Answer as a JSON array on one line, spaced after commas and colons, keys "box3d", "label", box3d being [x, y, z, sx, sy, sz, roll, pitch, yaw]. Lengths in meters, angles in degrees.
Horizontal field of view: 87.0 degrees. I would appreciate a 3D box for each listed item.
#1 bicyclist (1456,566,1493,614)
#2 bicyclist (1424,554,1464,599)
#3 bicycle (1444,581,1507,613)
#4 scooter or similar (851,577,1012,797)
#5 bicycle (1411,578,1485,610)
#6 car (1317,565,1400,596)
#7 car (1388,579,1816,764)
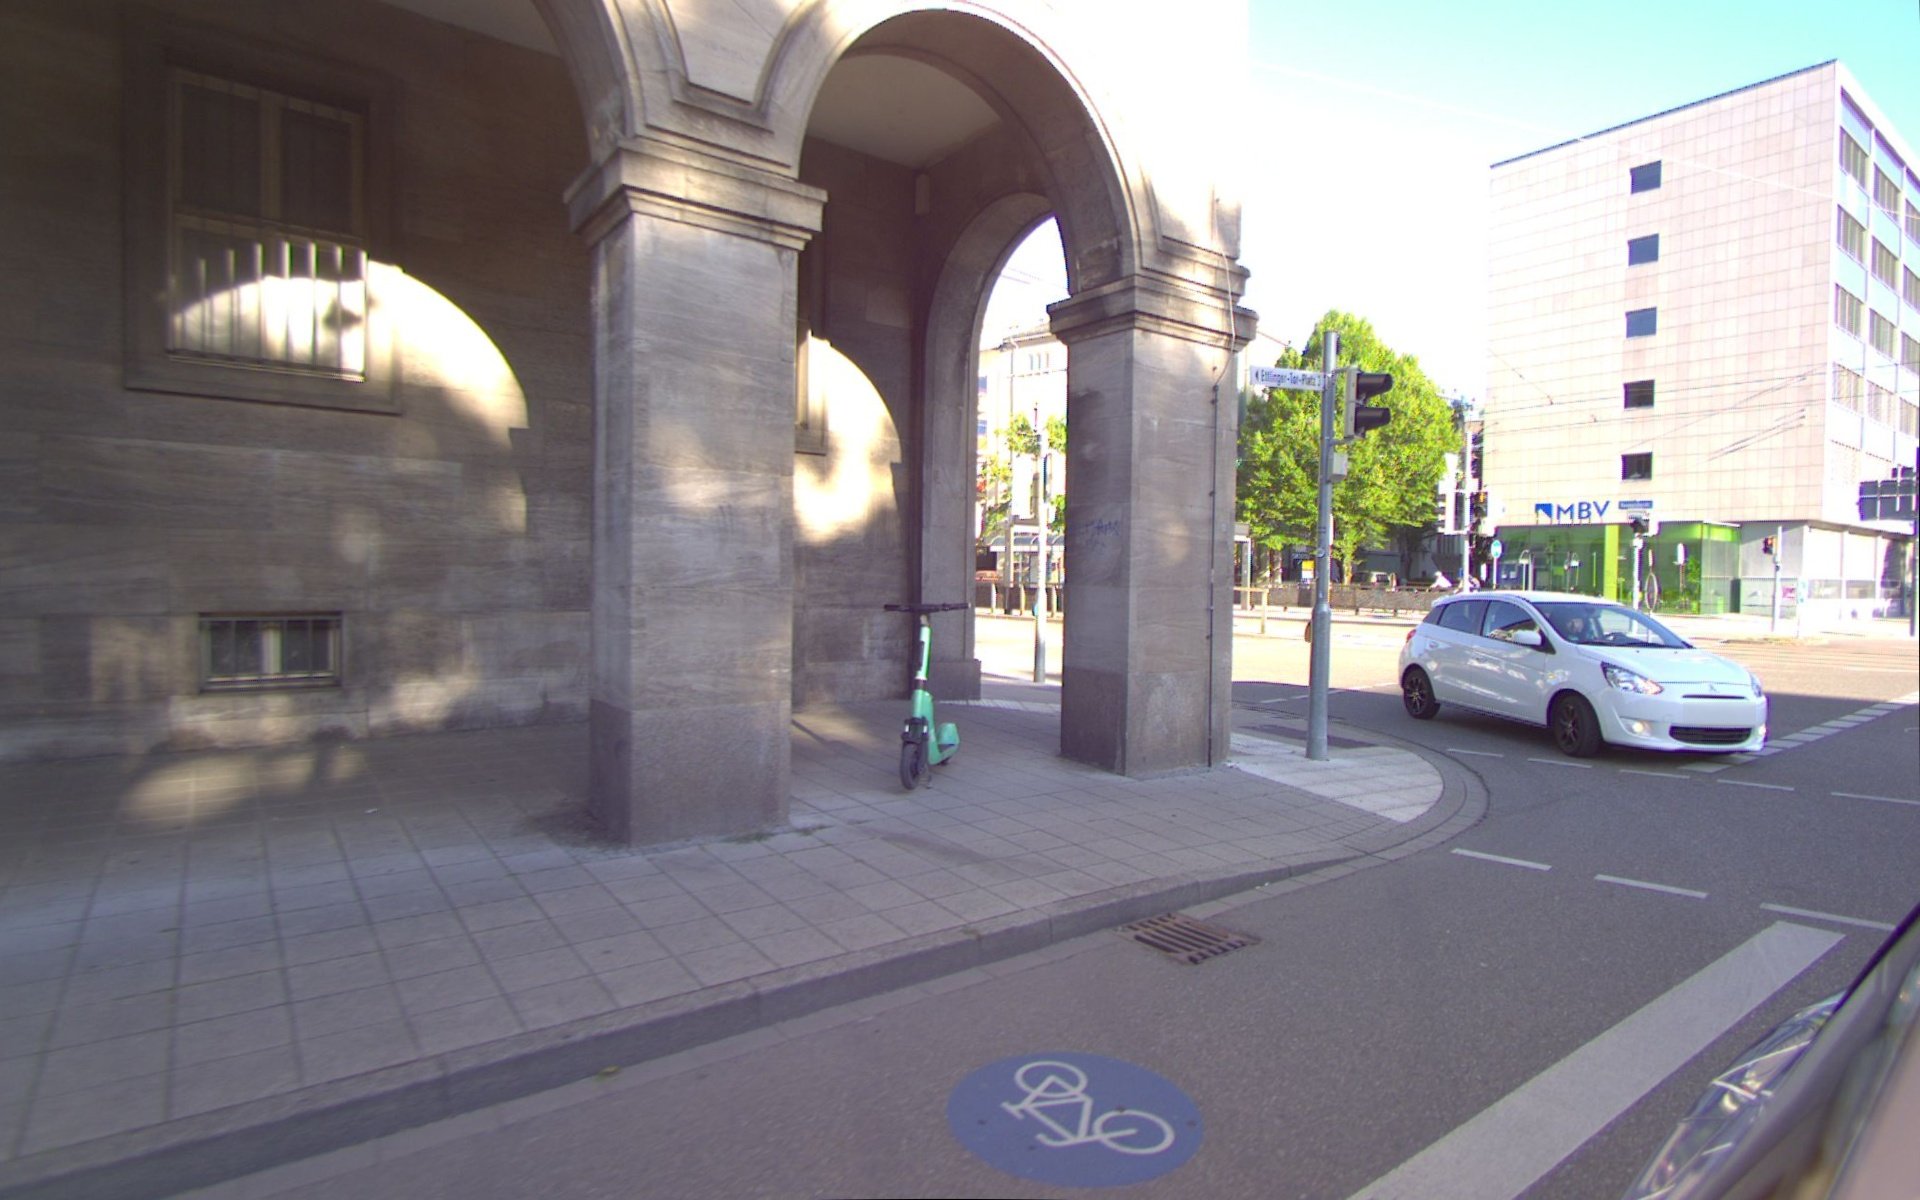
[{"box3d": [18.721, -0.373, 36.842, 0.931, 1.710, 0.763, 1, 4, 10], "label": "bicyclist"}, {"box3d": [17.025, -0.848, 35.618, 0.890, 1.524, 0.889, 0, 4, 0], "label": "bicyclist"}, {"box3d": [18.744, -0.120, 36.841, 1.877, 1.080, 0.753, 1, 4, 11], "label": "bicycle"}, {"box3d": [-0.155, 0.504, 6.694, 0.633, 1.238, 1.257, 3, 4, 18], "label": "scooter or similar"}, {"box3d": [17.188, -0.216, 35.688, 2.141, 1.080, 0.885, 0, 4, -1], "label": "bicycle"}, {"box3d": [22.233, -1.130, 56.614, 1.711, 1.604, 3.994, -3, 4, -41], "label": "car"}, {"box3d": [6.228, 0.555, 10.403, 1.645, 1.482, 3.772, -1, 2, -8], "label": "car"}]
